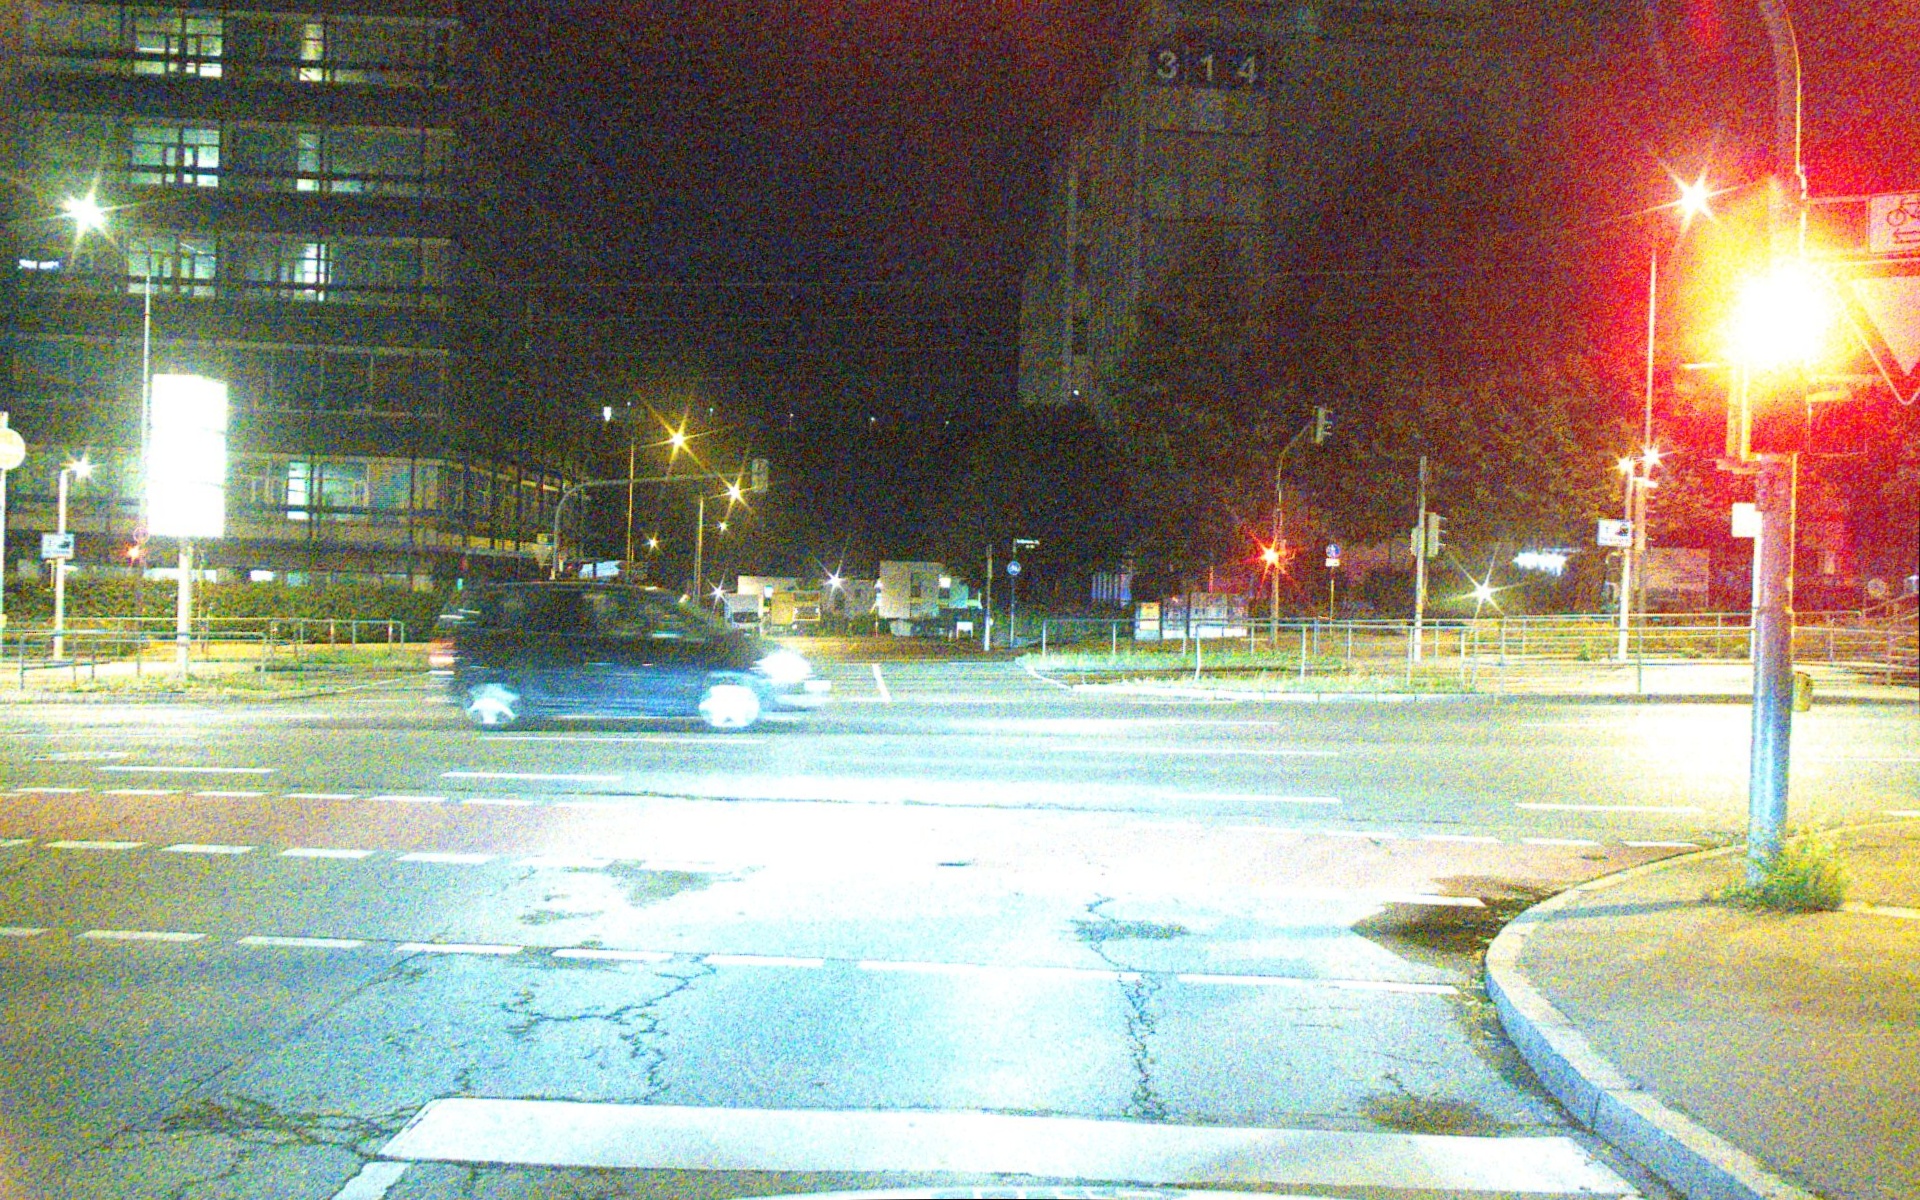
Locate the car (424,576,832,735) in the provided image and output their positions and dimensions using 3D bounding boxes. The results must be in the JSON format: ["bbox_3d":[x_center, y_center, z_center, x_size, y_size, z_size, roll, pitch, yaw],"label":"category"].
[{"bbox_3d":[-3.691,0.601,18.911,4.252,1.680,1.810,1,0,2],"label":"car"}]

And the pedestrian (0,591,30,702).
[{"bbox_3d":[-14.743,0.691,25.209,0.656,1.663,0.862,1,-1,-5],"label":"pedestrian"}]

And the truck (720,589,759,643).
[{"bbox_3d":[-15.836,1.130,118.774,2.535,3.772,5.724,1,0,-9],"label":"truck"}]

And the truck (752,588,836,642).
[{"bbox_3d":[-15.293,1.298,150.978,4.751,4.627,12.593,1,0,-19],"label":"truck"}]
